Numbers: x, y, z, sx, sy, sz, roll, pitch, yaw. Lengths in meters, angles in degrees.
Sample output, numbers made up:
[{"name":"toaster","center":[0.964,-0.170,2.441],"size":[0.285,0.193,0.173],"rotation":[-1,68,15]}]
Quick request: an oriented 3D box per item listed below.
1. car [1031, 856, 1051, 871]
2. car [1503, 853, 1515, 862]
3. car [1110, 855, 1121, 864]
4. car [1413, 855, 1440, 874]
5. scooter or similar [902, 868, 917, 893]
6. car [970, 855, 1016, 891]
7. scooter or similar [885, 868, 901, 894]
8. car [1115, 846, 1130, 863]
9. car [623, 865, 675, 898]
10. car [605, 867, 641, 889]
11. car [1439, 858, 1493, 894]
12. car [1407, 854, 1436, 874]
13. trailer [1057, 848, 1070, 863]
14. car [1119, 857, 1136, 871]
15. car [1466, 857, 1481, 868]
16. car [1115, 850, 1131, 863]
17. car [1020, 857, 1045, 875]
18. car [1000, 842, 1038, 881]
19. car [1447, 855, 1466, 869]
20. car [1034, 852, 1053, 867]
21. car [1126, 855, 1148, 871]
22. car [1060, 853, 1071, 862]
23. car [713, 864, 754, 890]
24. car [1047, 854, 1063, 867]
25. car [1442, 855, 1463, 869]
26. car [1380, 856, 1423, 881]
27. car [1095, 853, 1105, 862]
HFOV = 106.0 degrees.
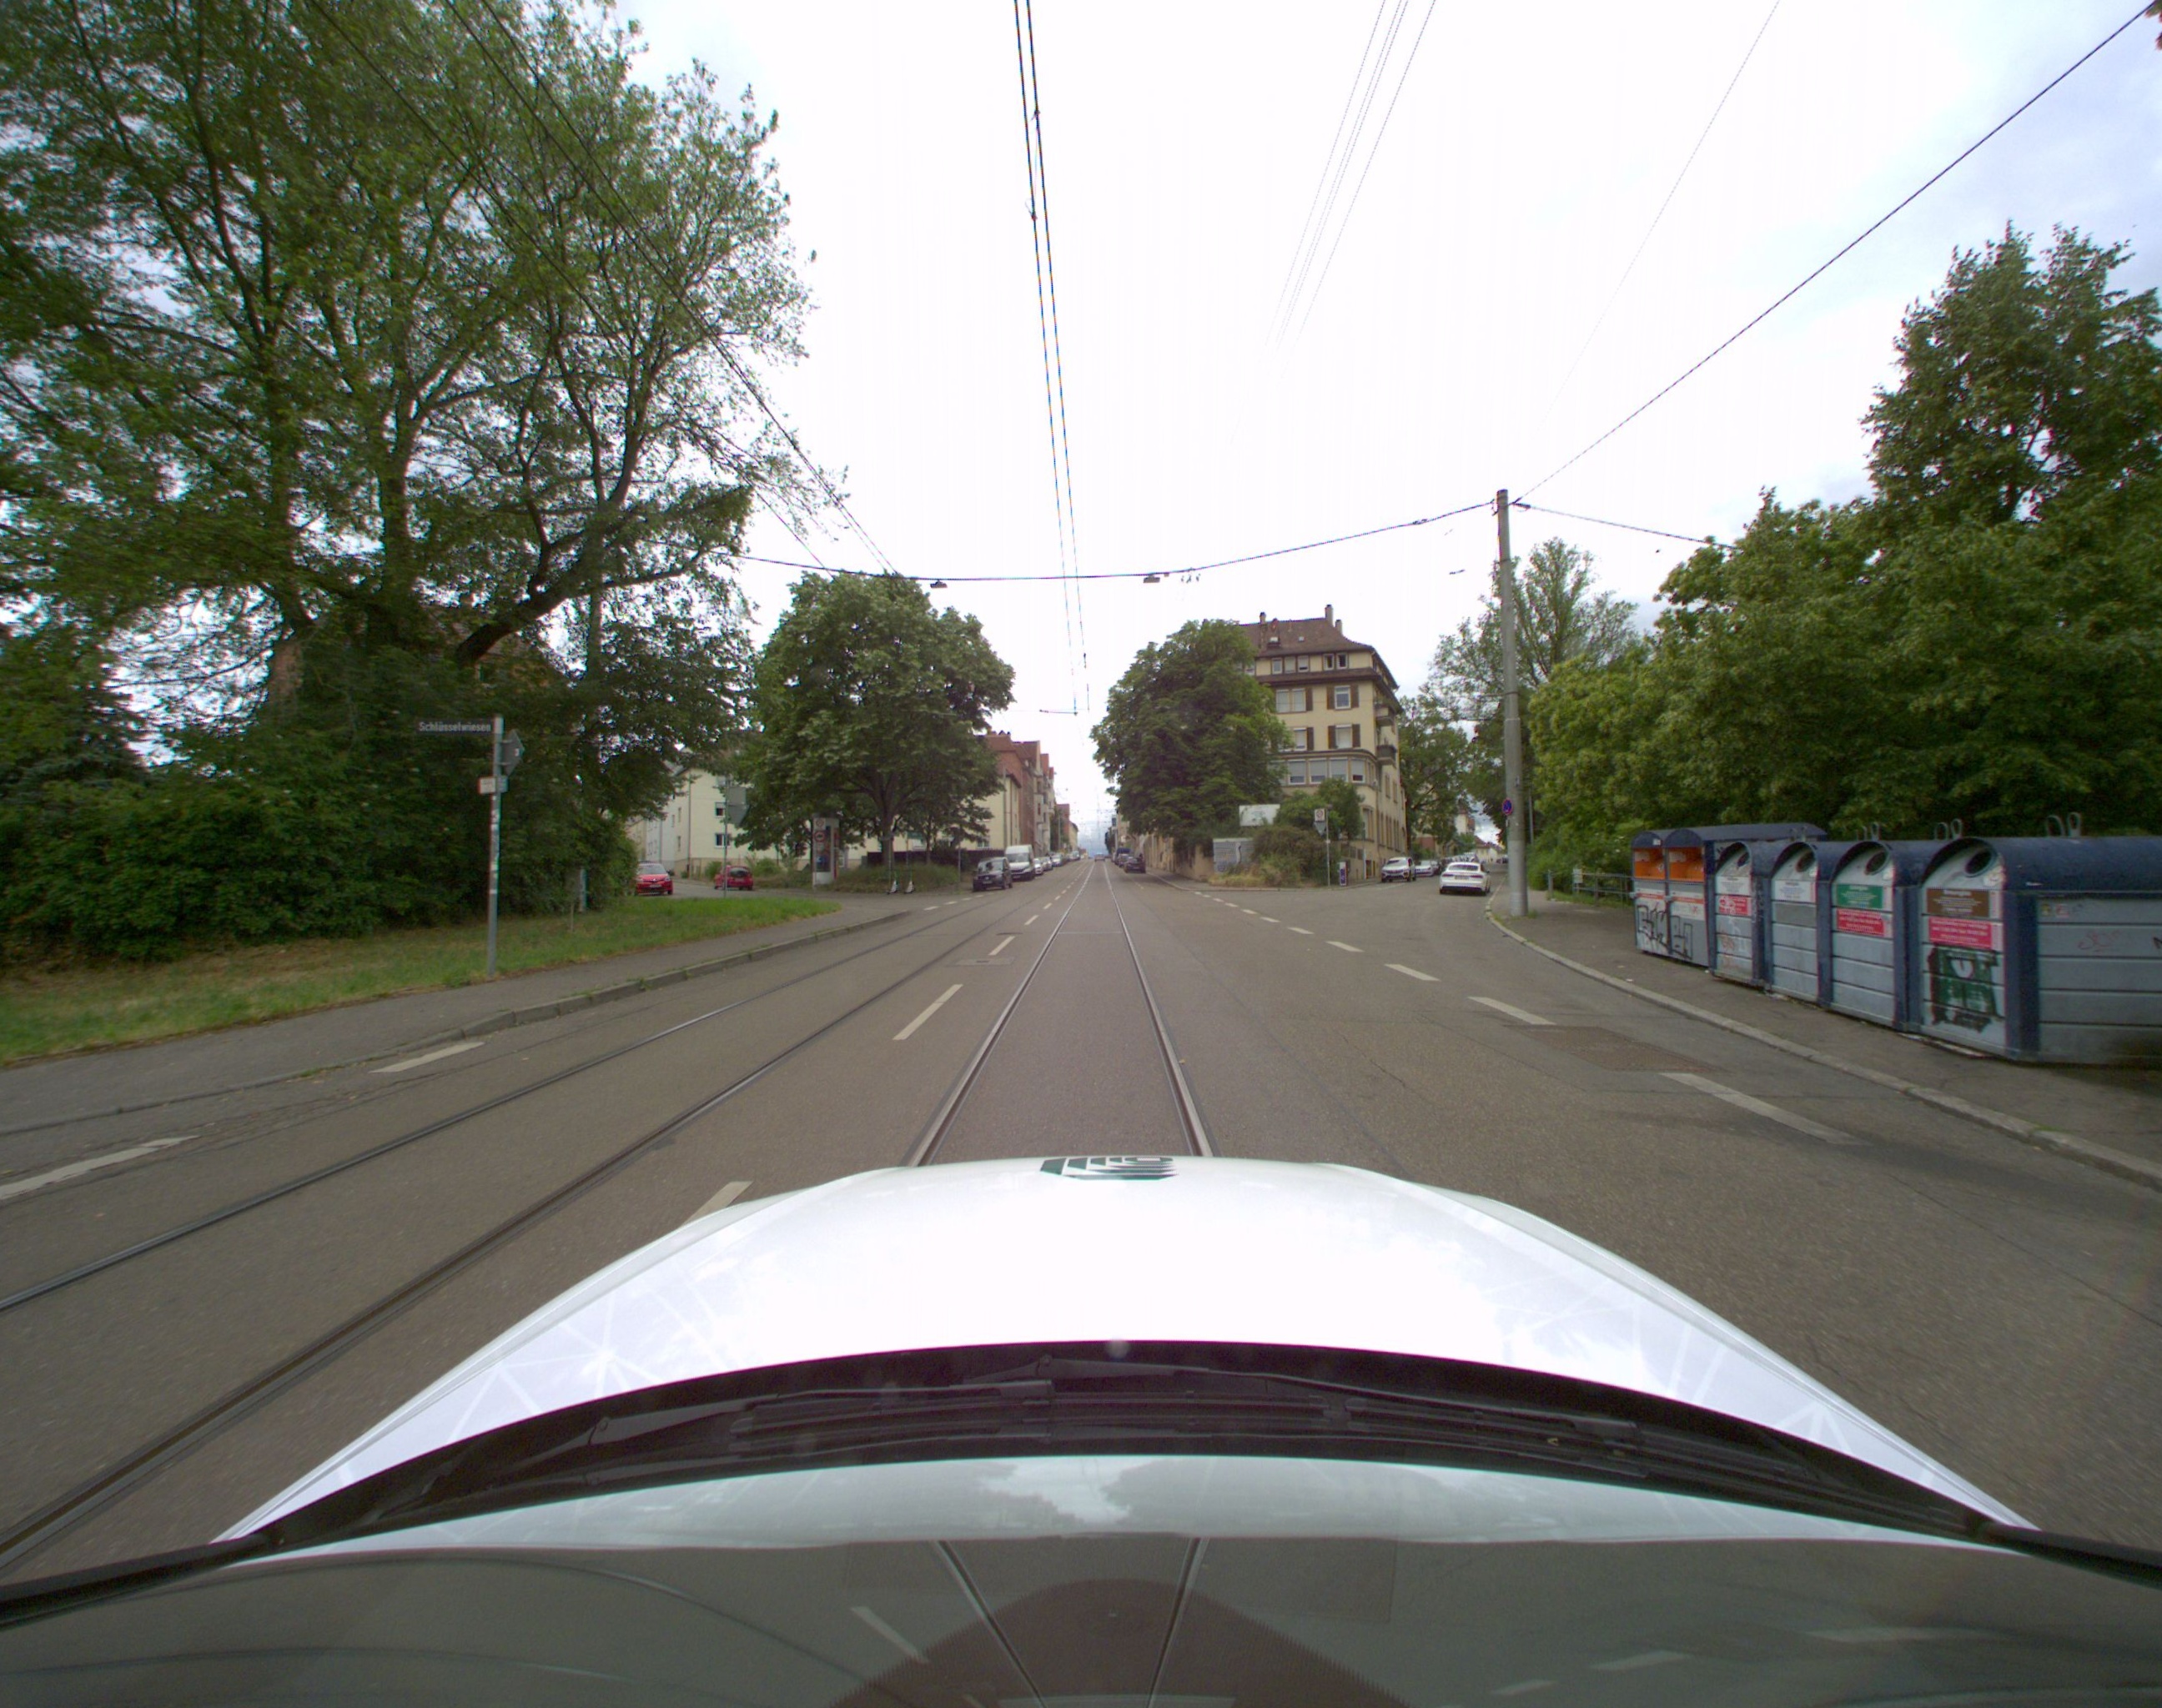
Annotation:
[{"name":"car","center":[-4.081,0.984,83.315],"size":[1.594,1.368,3.809],"rotation":[-4,0,2]},{"name":"car","center":[76.804,0.633,146.241],"size":[1.727,1.541,3.810],"rotation":[-3,-2,29]},{"name":"car","center":[5.694,0.913,135.196],"size":[1.744,1.390,4.307],"rotation":[1,0,0]},{"name":"car","center":[30.073,0.942,70.808],"size":[1.727,1.541,3.810],"rotation":[-3,-2,29]},{"name":"scooter or similar","center":[-8.294,1.274,39.370],"size":[0.310,1.145,1.718],"rotation":[0,1,1]},{"name":"car","center":[-4.883,1.016,45.734],"size":[1.755,1.775,4.671],"rotation":[-4,0,3]},{"name":"scooter or similar","center":[-9.044,1.276,39.234],"size":[0.310,1.145,1.718],"rotation":[0,1,1]},{"name":"car","center":[5.754,0.071,113.209],"size":[1.986,2.376,5.057],"rotation":[0,-1,1]},{"name":"car","center":[-20.931,1.303,39.372],"size":[1.757,1.478,3.574],"rotation":[0,-1,-36]},{"name":"car","center":[-27.254,1.410,48.408],"size":[1.464,1.235,3.740],"rotation":[0,0,-36]},{"name":"car","center":[16.797,0.887,35.426],"size":[1.876,1.381,4.628],"rotation":[2,1,28]},{"name":"car","center":[27.958,0.807,66.792],"size":[1.727,1.541,3.810],"rotation":[-3,-2,29]},{"name":"trailer","center":[-2.820,0.237,131.202],"size":[1.742,2.155,4.073],"rotation":[-3,0,2]},{"name":"car","center":[5.425,1.150,95.602],"size":[1.821,1.519,4.029],"rotation":[1,0,2]},{"name":"car","center":[60.398,1.342,125.213],"size":[1.727,1.541,3.810],"rotation":[-3,-2,29]},{"name":"car","center":[5.521,0.306,107.623],"size":[1.774,1.530,4.192],"rotation":[3,0,1]},{"name":"car","center":[-4.124,1.013,69.830],"size":[1.713,1.403,4.314],"rotation":[-4,0,1]},{"name":"car","center":[-4.507,0.497,60.039],"size":[2.152,2.606,6.218],"rotation":[-4,0,0]},{"name":"car","center":[44.480,0.945,96.468],"size":[1.727,1.541,3.810],"rotation":[-3,-2,29]},{"name":"car","center":[-3.988,0.592,87.841],"size":[1.822,1.429,4.626],"rotation":[-4,0,-1]},{"name":"car","center":[5.084,0.833,74.107],"size":[1.833,1.403,4.168],"rotation":[1,0,1]},{"name":"car","center":[-2.755,0.635,142.941],"size":[1.690,1.468,3.024],"rotation":[-3,0,2]},{"name":"car","center":[-20.528,1.315,48.041],"size":[1.658,1.415,3.693],"rotation":[0,0,-32]},{"name":"car","center":[-3.404,0.848,107.211],"size":[1.821,1.429,4.841],"rotation":[-3,0,2]},{"name":"car","center":[42.089,0.929,92.272],"size":[1.727,1.541,3.810],"rotation":[-3,-2,29]},{"name":"car","center":[20.830,0.924,52.824],"size":[1.823,1.534,4.533],"rotation":[-2,-1,30]},{"name":"car","center":[3.340,0.571,145.346],"size":[1.666,1.513,3.797],"rotation":[-1,0,0]}]
